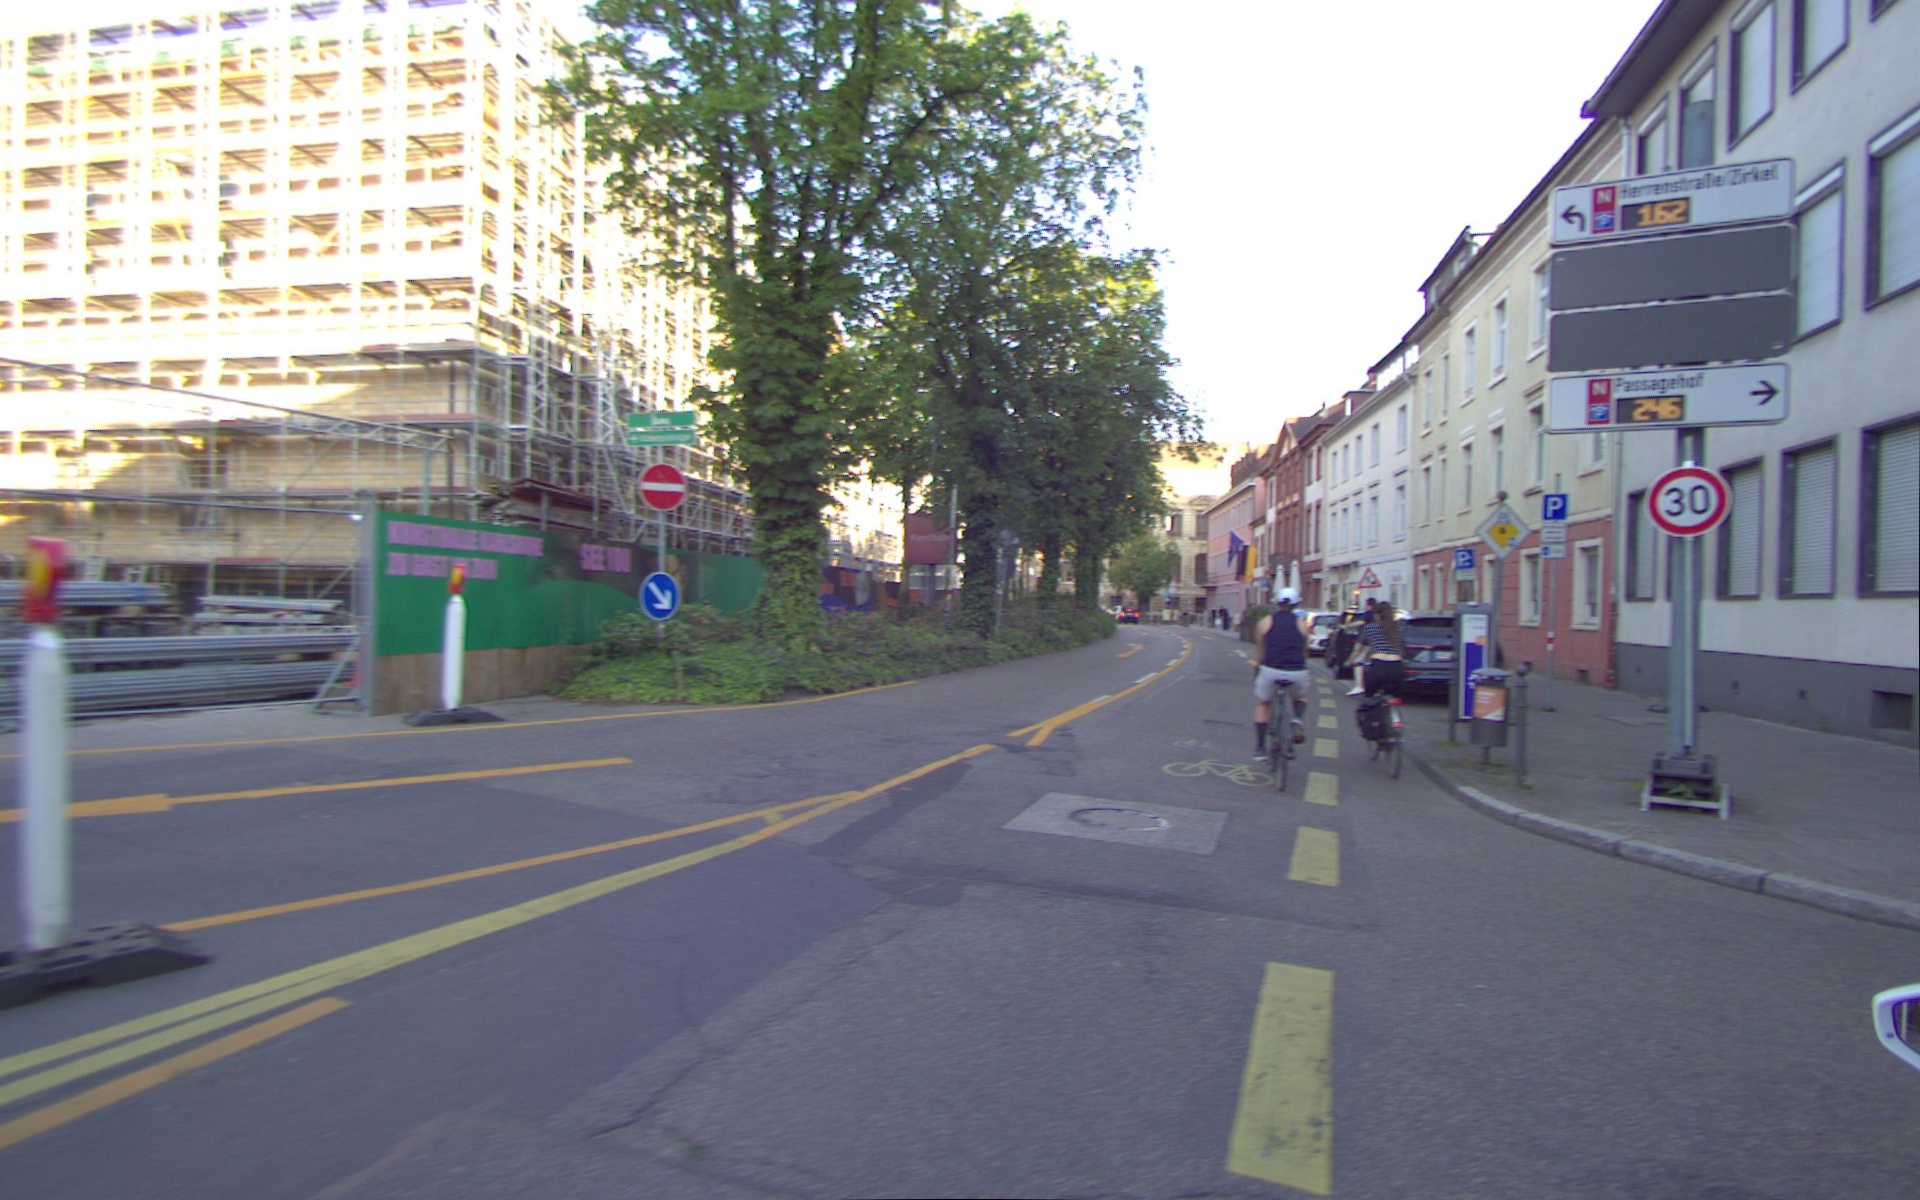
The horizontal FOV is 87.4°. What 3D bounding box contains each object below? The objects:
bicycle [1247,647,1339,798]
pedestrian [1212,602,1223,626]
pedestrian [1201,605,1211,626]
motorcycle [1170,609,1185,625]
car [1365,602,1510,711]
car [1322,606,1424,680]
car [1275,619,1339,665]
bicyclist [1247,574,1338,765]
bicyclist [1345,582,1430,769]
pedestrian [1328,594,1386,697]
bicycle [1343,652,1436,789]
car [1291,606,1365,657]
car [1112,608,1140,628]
[{"bbox_3d":[2.933,1.017,8.968,0.658,1.085,1.902,3,1,16],"label":"bicycle"},{"bbox_3d":[19.831,1.074,77.404,0.737,1.785,0.586,1,0,10],"label":"pedestrian"},{"bbox_3d":[18.922,1.202,77.160,0.656,1.602,0.586,1,0,10],"label":"pedestrian"},{"bbox_3d":[18.190,1.447,84.043,1.023,1.265,2.399,1,0,7],"label":"motorcycle"},{"bbox_3d":[8.505,0.919,18.205,1.782,1.705,3.920,1,0,17],"label":"car"},{"bbox_3d":[10.625,1.034,26.104,1.781,1.706,4.002,1,0,13],"label":"car"},{"bbox_3d":[13.171,1.553,38.270,1.781,1.581,3.867,1,0,12],"label":"car"},{"bbox_3d":[2.938,0.590,8.923,0.657,1.587,0.699,3,1,17],"label":"bicyclist"},{"bbox_3d":[4.340,0.731,10.247,0.639,1.784,0.864,3,2,19],"label":"bicyclist"},{"bbox_3d":[7.568,0.837,19.177,0.885,1.891,0.932,1,0,15],"label":"pedestrian"},{"bbox_3d":[4.309,1.145,10.200,0.642,1.085,2.258,3,1,19],"label":"bicycle"},{"bbox_3d":[12.384,1.021,34.031,1.781,1.581,3.867,1,0,12],"label":"car"},{"bbox_3d":[13.972,1.485,84.605,1.782,1.581,3.865,1,0,2],"label":"car"}]
